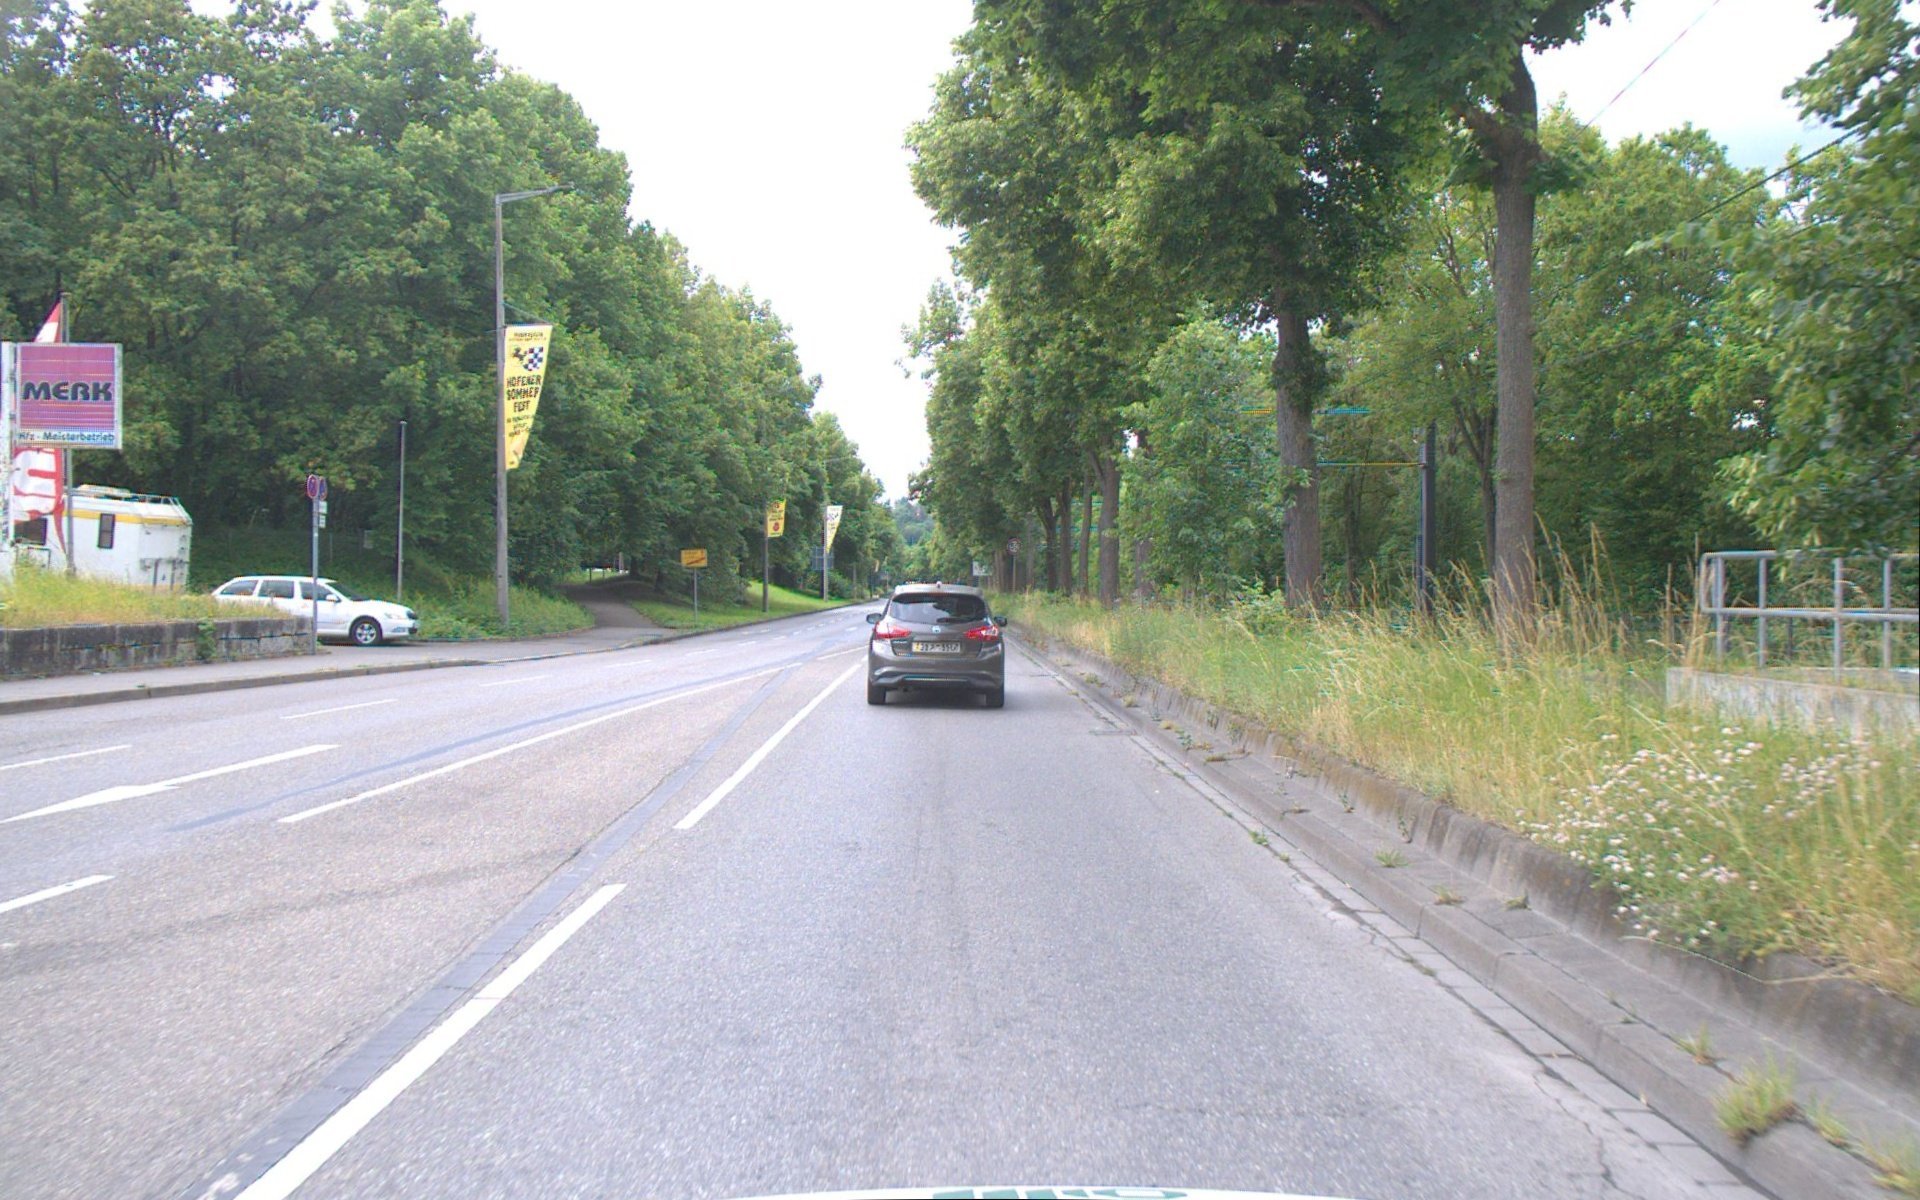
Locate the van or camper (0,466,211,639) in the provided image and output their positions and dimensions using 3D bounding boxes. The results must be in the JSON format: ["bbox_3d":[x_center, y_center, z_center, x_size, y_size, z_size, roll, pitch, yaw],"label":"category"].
[{"bbox_3d":[-21.065,-1.211,37.056,6.999,3.428,2.796,6,0,-1],"label":"van or camper"}]

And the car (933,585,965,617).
[{"bbox_3d":[-0.542,0.071,83.499,1.472,1.555,3.671,1,0,1],"label":"car"}]

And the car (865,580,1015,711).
[{"bbox_3d":[-0.212,0.555,22.125,1.799,1.555,3.929,1,0,1],"label":"car"}]

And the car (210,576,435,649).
[{"bbox_3d":[-14.330,0.270,37.359,4.288,1.466,1.960,2,0,-3],"label":"car"}]
